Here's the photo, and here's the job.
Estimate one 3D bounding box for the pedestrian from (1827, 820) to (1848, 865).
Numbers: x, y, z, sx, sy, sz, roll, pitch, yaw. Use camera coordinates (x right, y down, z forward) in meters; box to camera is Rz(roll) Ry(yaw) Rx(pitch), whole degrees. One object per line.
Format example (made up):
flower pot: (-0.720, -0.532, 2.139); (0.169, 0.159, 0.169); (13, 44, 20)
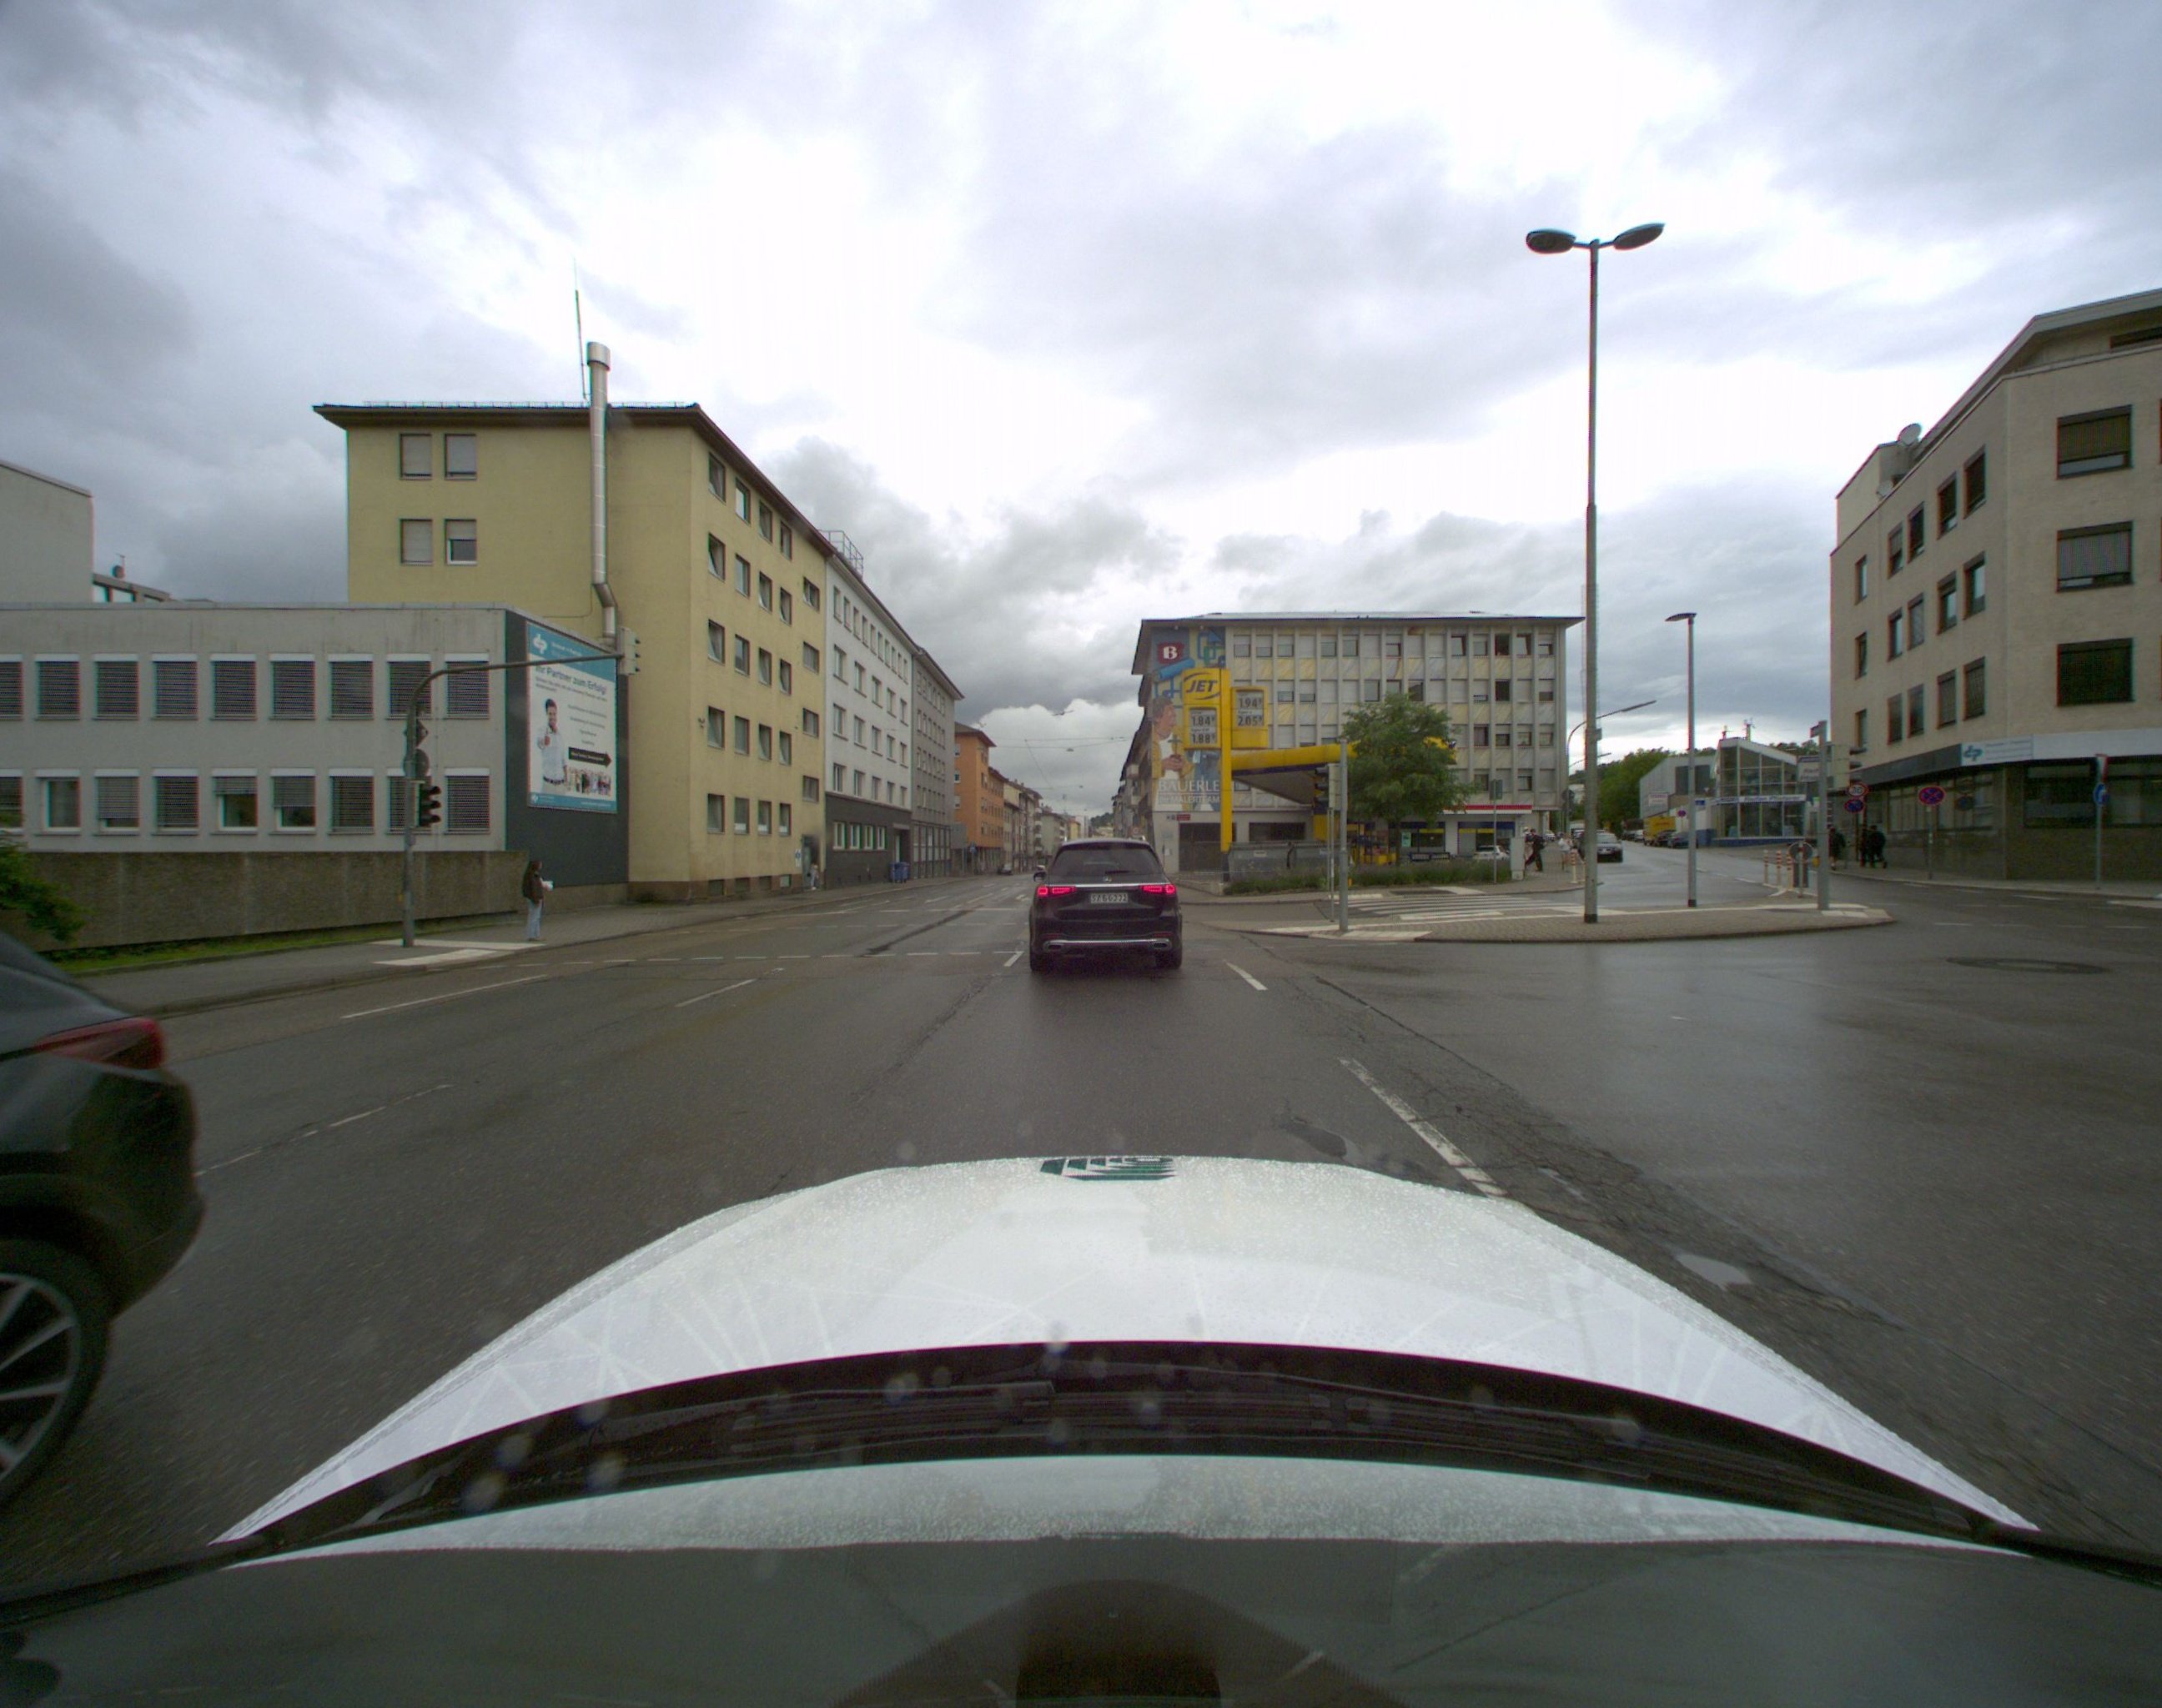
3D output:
pedestrian: (29.687, -0.435, 31.974); (0.473, 1.742, 0.578); (1, -1, 31)

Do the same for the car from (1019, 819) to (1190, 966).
car: (0.325, 0.478, 12.294); (2.069, 1.765, 4.611); (1, 0, 1)

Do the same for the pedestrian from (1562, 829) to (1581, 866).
pedestrian: (20.373, -0.251, 33.823); (0.578, 1.515, 0.474); (2, -1, -40)

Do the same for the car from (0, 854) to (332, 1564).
car: (-3.381, 0.803, 0.484); (1.801, 1.594, 4.297); (-1, 0, 2)

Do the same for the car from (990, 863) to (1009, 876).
car: (-9.889, 1.867, 99.143); (1.885, 1.458, 4.547); (1, 0, -1)

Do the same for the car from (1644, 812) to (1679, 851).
car: (57.917, -2.196, 81.368); (2.354, 3.688, 5.025); (1, -1, 30)

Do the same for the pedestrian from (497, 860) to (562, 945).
pedestrian: (-11.410, 0.986, 16.868); (0.714, 1.689, 0.811); (1, -1, 2)

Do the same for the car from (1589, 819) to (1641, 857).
car: (28.377, -0.792, 43.388); (1.975, 1.865, 4.608); (1, 0, 29)

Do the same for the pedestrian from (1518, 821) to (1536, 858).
pedestrian: (21.482, -0.679, 39.259); (0.671, 1.758, 0.736); (1, -1, 24)

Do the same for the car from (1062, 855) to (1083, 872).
car: (-0.839, 0.992, 84.017); (2.069, 1.650, 4.295); (1, 0, 1)

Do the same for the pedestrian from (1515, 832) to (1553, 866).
pedestrian: (18.605, -0.215, 33.433); (0.922, 1.353, 1.100); (2, -1, -40)

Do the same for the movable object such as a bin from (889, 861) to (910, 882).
movable object such as a bin: (-11.778, 1.149, 52.966); (1.072, 1.324, 1.191); (1, -1, 1)

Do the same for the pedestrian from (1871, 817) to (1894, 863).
pedestrian: (30.308, -0.524, 30.793); (0.473, 1.742, 0.578); (1, -1, 31)

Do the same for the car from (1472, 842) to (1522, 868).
car: (26.534, 0.086, 51.906); (1.974, 1.516, 4.446); (-3, -3, 38)

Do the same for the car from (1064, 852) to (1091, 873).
car: (-0.263, 0.678, 66.482); (2.069, 1.650, 4.295); (1, 0, 1)

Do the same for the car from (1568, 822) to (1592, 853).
car: (51.164, -1.664, 83.572); (1.975, 2.973, 4.608); (1, -1, 29)

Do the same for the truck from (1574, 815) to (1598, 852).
truck: (55.542, -2.201, 89.656); (1.975, 3.914, 5.518); (1, -1, 29)

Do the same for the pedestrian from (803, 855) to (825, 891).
pedestrian: (-12.602, 0.892, 38.444); (0.714, 1.689, 0.811); (1, -1, 2)

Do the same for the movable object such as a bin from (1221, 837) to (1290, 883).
movable object such as a bin: (6.265, 0.202, 29.446); (2.148, 1.574, 1.773); (-1, -1, 1)

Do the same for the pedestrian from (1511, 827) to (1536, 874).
pedestrian: (24.801, -0.176, 45.642); (0.998, 2.567, 1.153); (1, -1, 15)

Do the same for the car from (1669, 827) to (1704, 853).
car: (51.246, -1.178, 68.975); (1.974, 2.014, 4.025); (1, -1, 32)

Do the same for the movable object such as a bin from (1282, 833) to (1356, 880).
movable object such as a bin: (8.560, 0.088, 29.408); (2.148, 1.555, 1.773); (-2, -1, 1)

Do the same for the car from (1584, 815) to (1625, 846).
car: (34.446, -1.514, 53.684); (1.975, 1.865, 4.608); (1, 0, 29)
